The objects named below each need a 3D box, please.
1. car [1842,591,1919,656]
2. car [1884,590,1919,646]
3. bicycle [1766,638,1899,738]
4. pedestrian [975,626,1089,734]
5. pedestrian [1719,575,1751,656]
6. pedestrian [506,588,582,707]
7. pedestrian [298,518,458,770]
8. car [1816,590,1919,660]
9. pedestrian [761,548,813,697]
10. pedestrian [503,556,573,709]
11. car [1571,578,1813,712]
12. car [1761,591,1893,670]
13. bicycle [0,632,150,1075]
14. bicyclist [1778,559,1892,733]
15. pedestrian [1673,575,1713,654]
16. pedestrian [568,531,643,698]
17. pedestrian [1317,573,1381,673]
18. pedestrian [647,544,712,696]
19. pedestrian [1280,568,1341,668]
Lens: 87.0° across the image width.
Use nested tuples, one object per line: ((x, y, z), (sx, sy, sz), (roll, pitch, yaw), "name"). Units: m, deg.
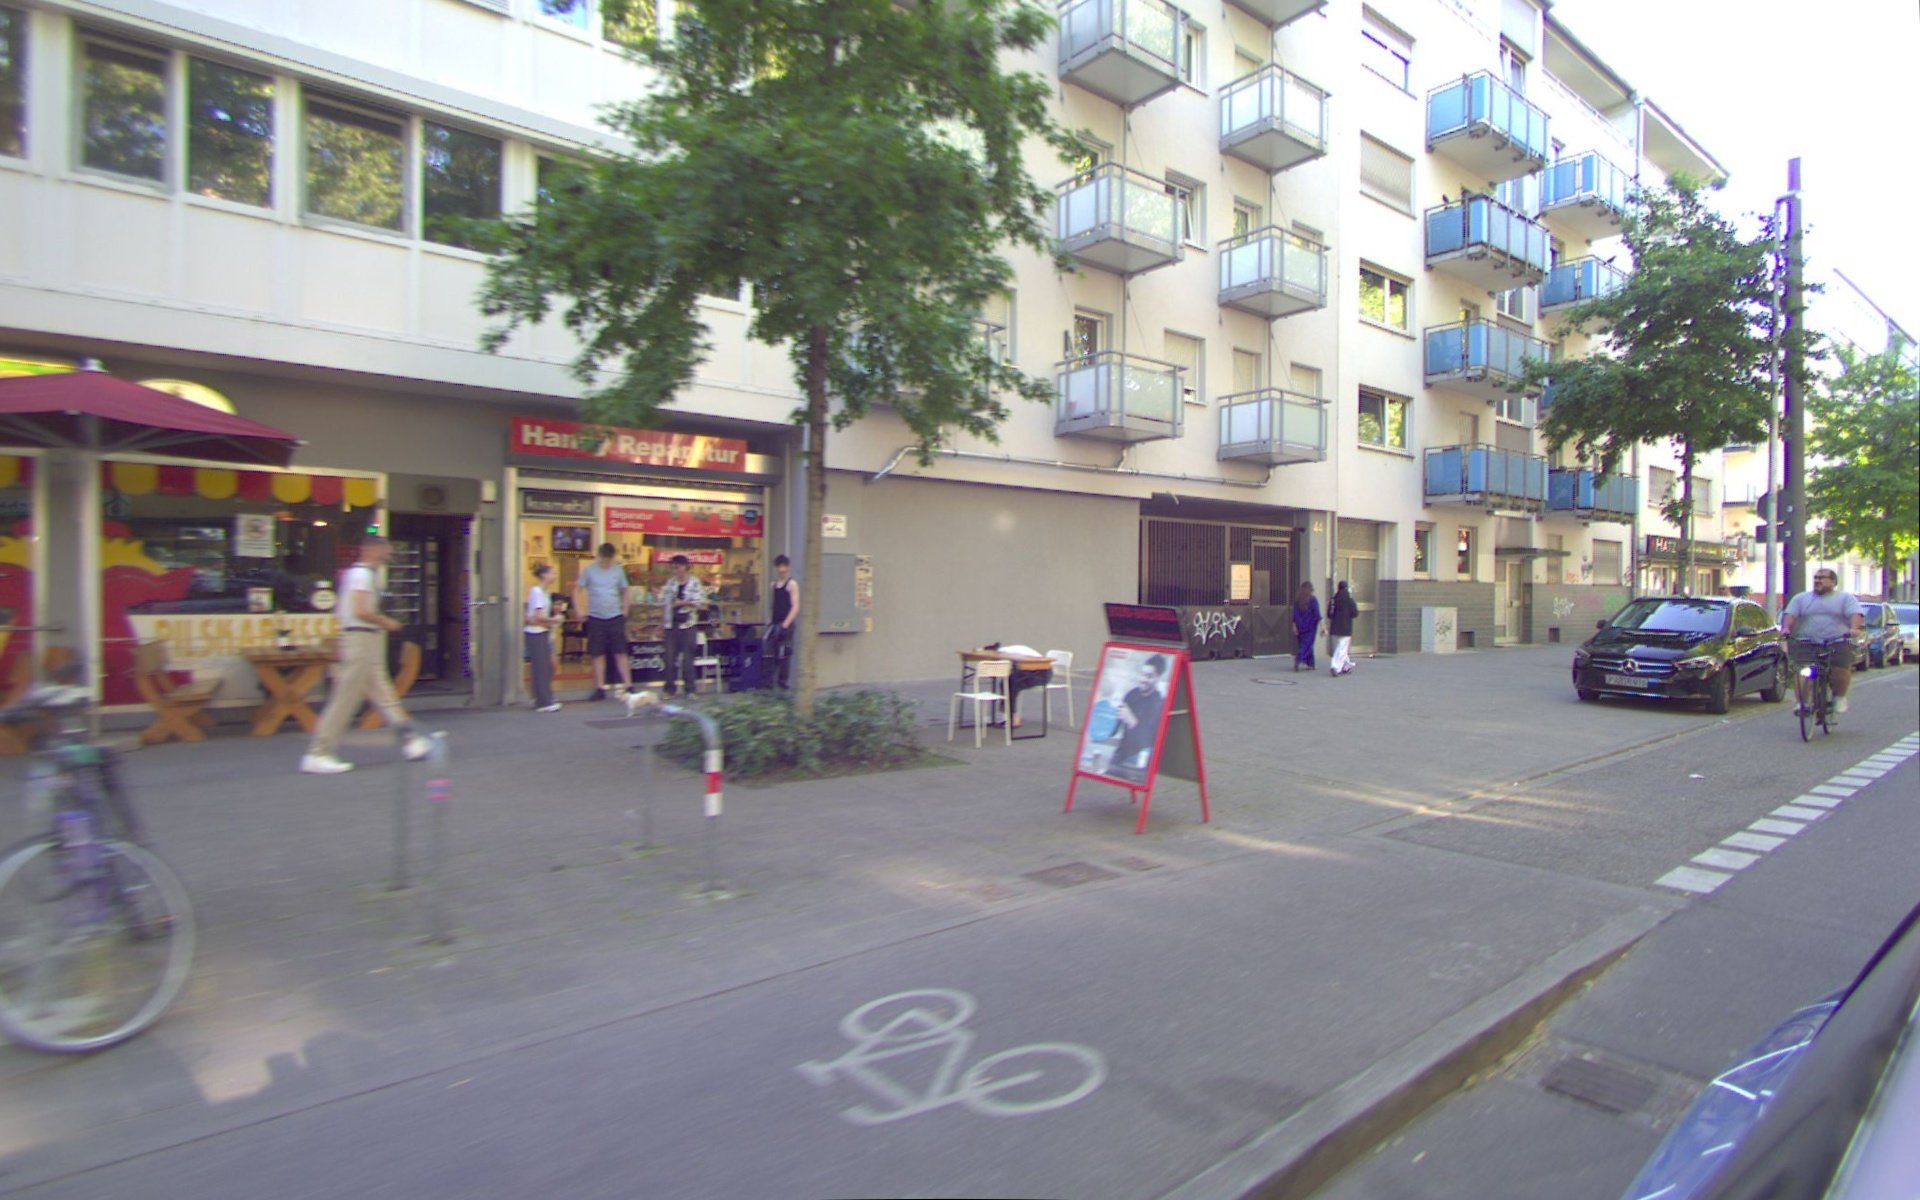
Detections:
((24.998, 0.582, 26.780), (4.053, 1.556, 1.791), (0, 3, -39), "car")
((29.399, 0.529, 30.616), (4.187, 1.590, 1.722), (-1, 3, -42), "car")
((9.870, 0.948, 11.425), (1.904, 0.949, 0.790), (-1, 0, -39), "bicycle")
((0.748, 0.813, 10.573), (0.981, 1.040, 0.662), (-1, 0, -23), "pedestrian")
((18.180, 0.354, 23.744), (0.652, 1.875, 0.476), (0, -1, -41), "pedestrian")
((-4.638, 0.516, 11.305), (0.501, 1.292, 0.623), (-1, 0, 14), "pedestrian")
((-4.477, 0.308, 7.796), (0.978, 1.807, 0.591), (0, -1, -40), "pedestrian")
((21.909, 0.561, 24.365), (2.829, 1.556, 1.448), (0, 2, -39), "car")
((-2.181, 0.275, 12.721), (0.480, 1.819, 0.432), (0, -1, -40), "pedestrian")
((-4.664, 0.347, 11.204), (0.500, 1.649, 0.516), (-1, -1, 14), "pedestrian")
((10.779, 0.545, 14.798), (4.251, 1.607, 1.764), (0, 4, -39), "car")
((18.840, 0.593, 21.940), (3.822, 1.500, 1.625), (0, 3, -42), "car")
((-3.108, 0.709, 3.466), (0.516, 1.114, 1.819), (0, 1, -39), "bicycle")
((9.919, 0.489, 11.470), (1.079, 1.854, 0.769), (0, -1, -38), "bicyclist")
((17.614, 0.345, 24.327), (0.530, 1.875, 0.663), (0, -1, -39), "pedestrian")
((-4.353, 0.170, 12.418), (0.776, 1.979, 0.508), (0, -1, -29), "pedestrian")
((6.670, 0.377, 17.347), (0.854, 1.658, 0.643), (0, 2, -40), "pedestrian")
((-3.447, 0.242, 12.464), (0.620, 1.828, 0.526), (-1, -1, 5), "pedestrian")
((6.197, 0.297, 17.889), (0.918, 1.698, 0.597), (0, 2, -41), "pedestrian")
